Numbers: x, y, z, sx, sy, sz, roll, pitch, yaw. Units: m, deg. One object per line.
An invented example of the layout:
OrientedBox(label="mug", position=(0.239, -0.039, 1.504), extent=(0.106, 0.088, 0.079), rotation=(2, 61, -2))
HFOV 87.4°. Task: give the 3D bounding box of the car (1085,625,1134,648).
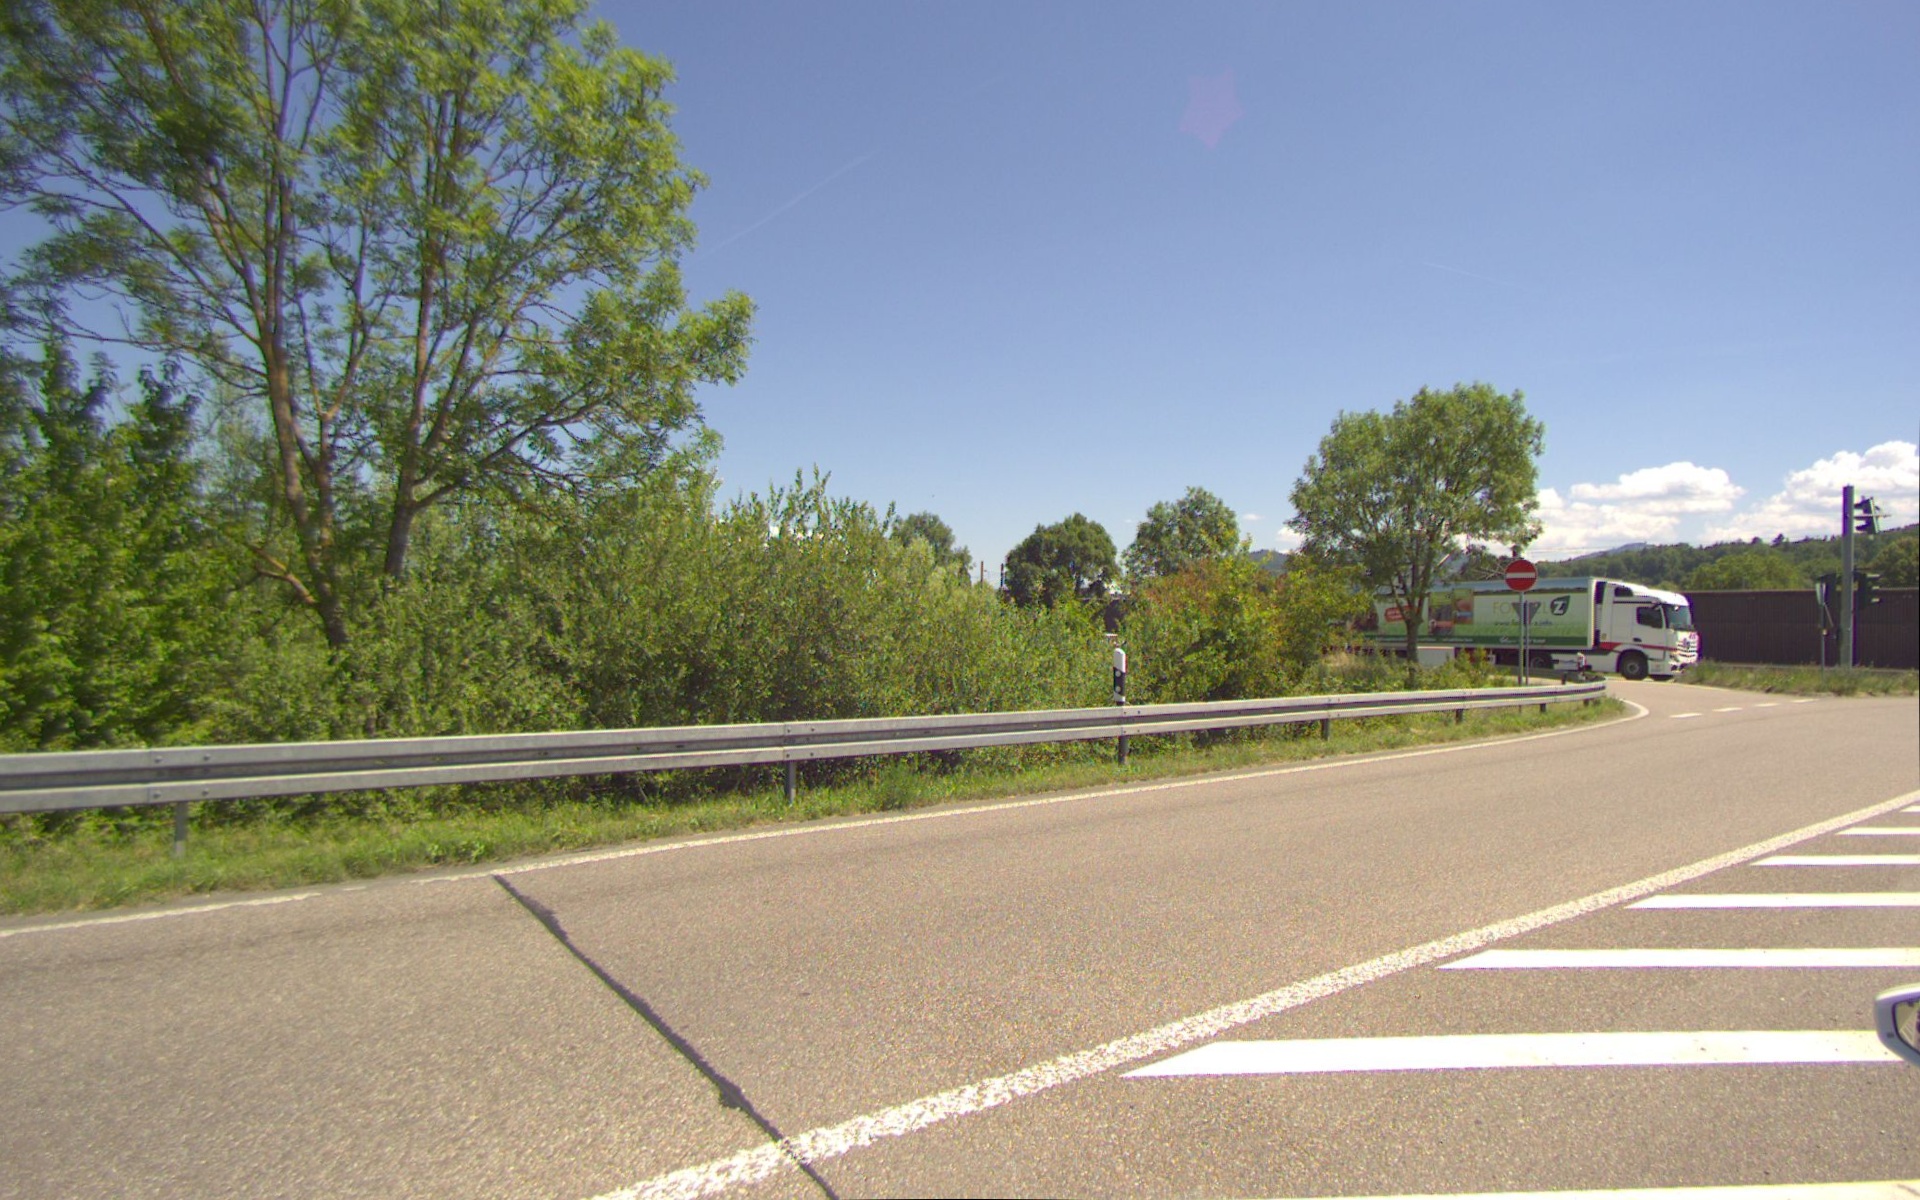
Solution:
OrientedBox(label="car", position=(10.350, 2.510, 69.688), extent=(1.537, 1.484, 3.455), rotation=(2, -1, -31))

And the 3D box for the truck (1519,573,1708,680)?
OrientedBox(label="truck", position=(26.513, 1.038, 40.974), extent=(3.027, 4.007, 5.736), rotation=(2, -1, -31))

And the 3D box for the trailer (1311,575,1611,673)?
OrientedBox(label="trailer", position=(22.816, 1.042, 47.206), extent=(3.027, 4.007, 13.074), rotation=(2, -1, -31))
